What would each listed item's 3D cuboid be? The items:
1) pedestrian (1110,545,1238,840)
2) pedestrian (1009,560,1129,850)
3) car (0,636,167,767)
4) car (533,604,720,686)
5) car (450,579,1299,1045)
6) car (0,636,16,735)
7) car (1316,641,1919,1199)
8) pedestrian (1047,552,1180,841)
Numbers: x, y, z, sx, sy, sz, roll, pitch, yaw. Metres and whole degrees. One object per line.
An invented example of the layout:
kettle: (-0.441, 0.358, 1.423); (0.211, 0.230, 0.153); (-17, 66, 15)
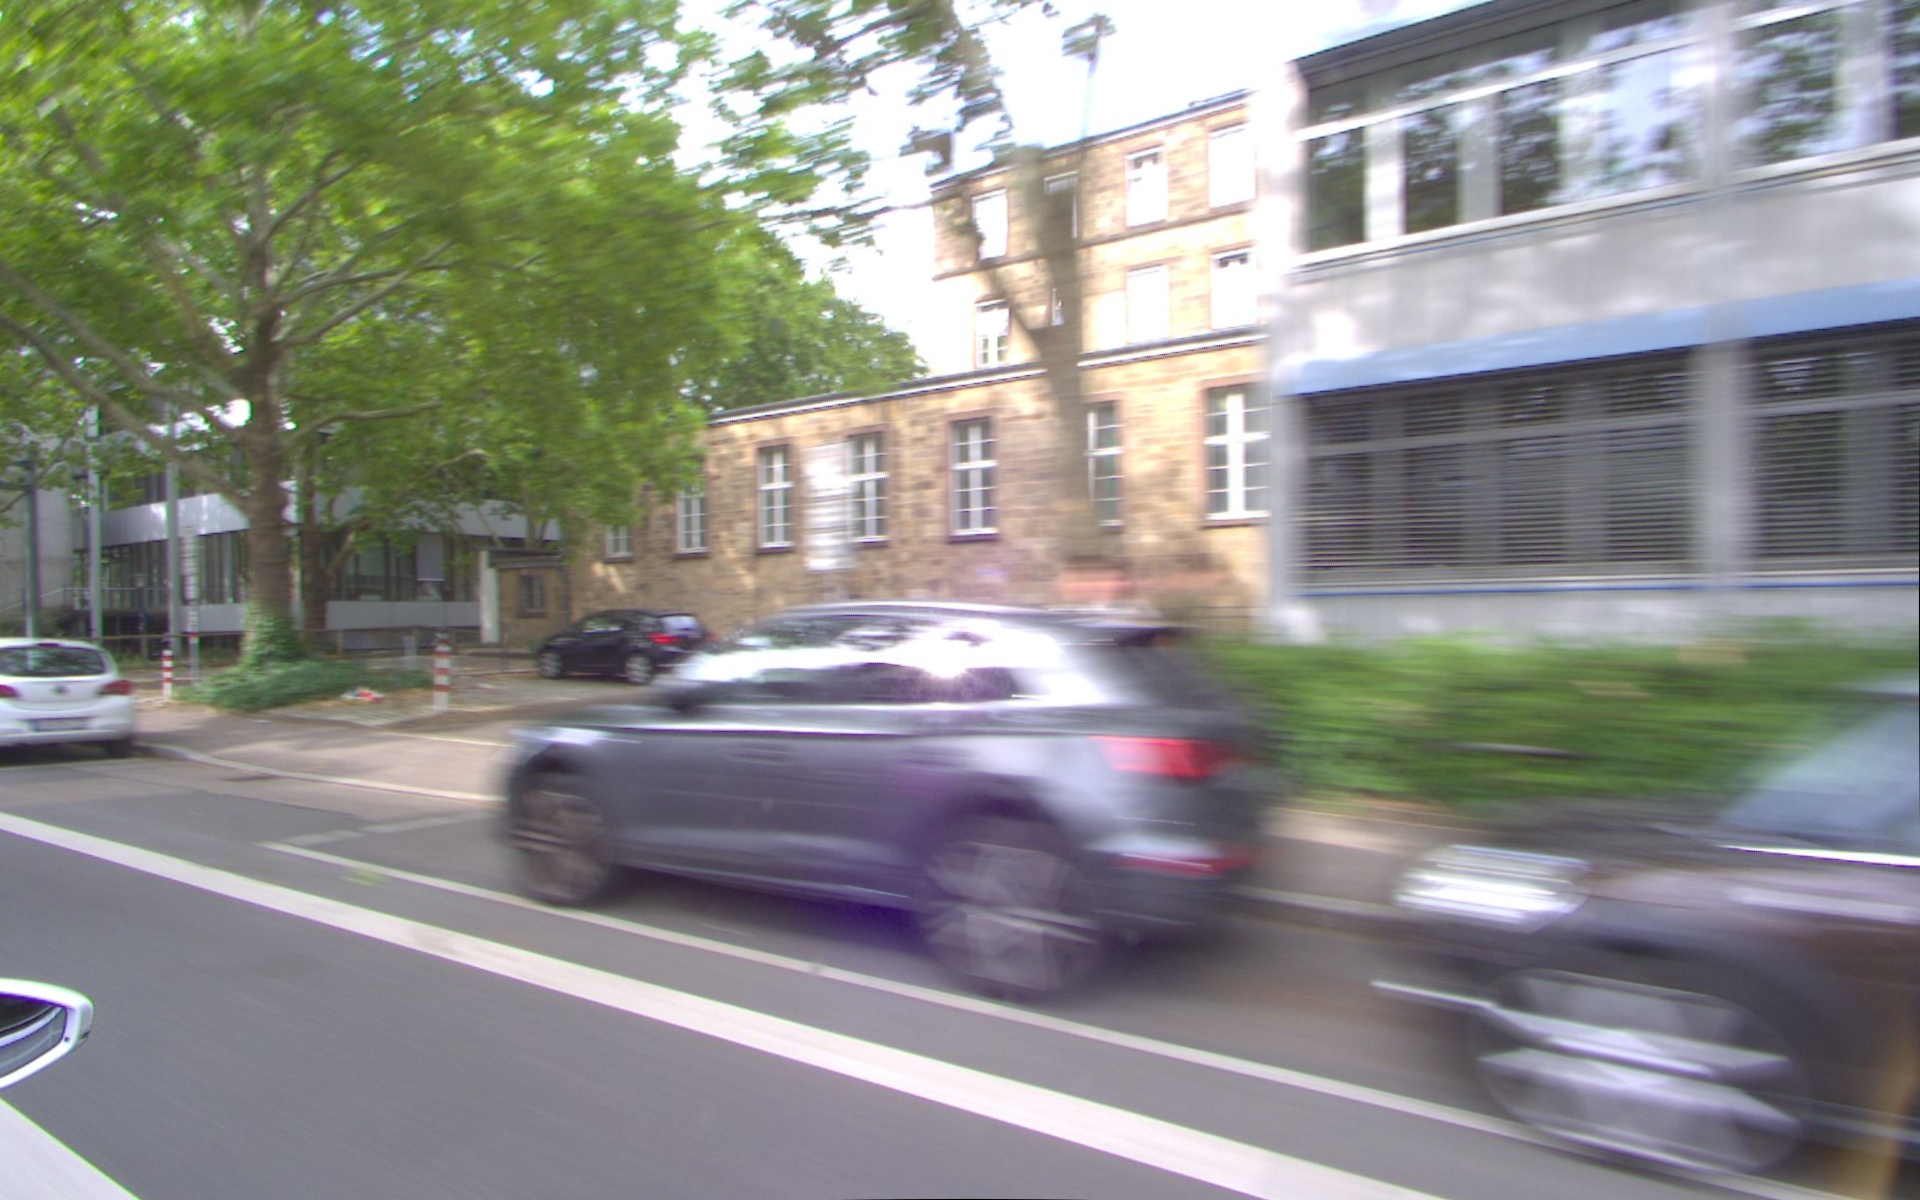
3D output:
pedestrian: (1.559, 0.635, 7.258); (0.682, 2.001, 0.641); (1, -1, 33)
pedestrian: (0.697, 0.630, 6.339); (0.501, 1.724, 0.586); (1, -1, 33)
car: (-11.910, 1.160, 12.589); (4.397, 1.411, 1.673); (-1, -3, 32)
car: (-6.878, 0.858, 20.544); (3.857, 1.478, 1.470); (1, 1, 30)
car: (-0.618, 0.825, 5.436); (4.436, 1.661, 1.667); (-1, -3, 30)
car: (-15.789, 1.236, 14.825); (3.363, 1.431, 1.641); (-1, -2, 28)
car: (3.349, 0.879, 2.740); (4.254, 1.489, 1.627); (-1, -1, 31)
pedestrian: (1.061, 0.629, 6.883); (0.682, 1.862, 0.586); (1, -1, 33)
